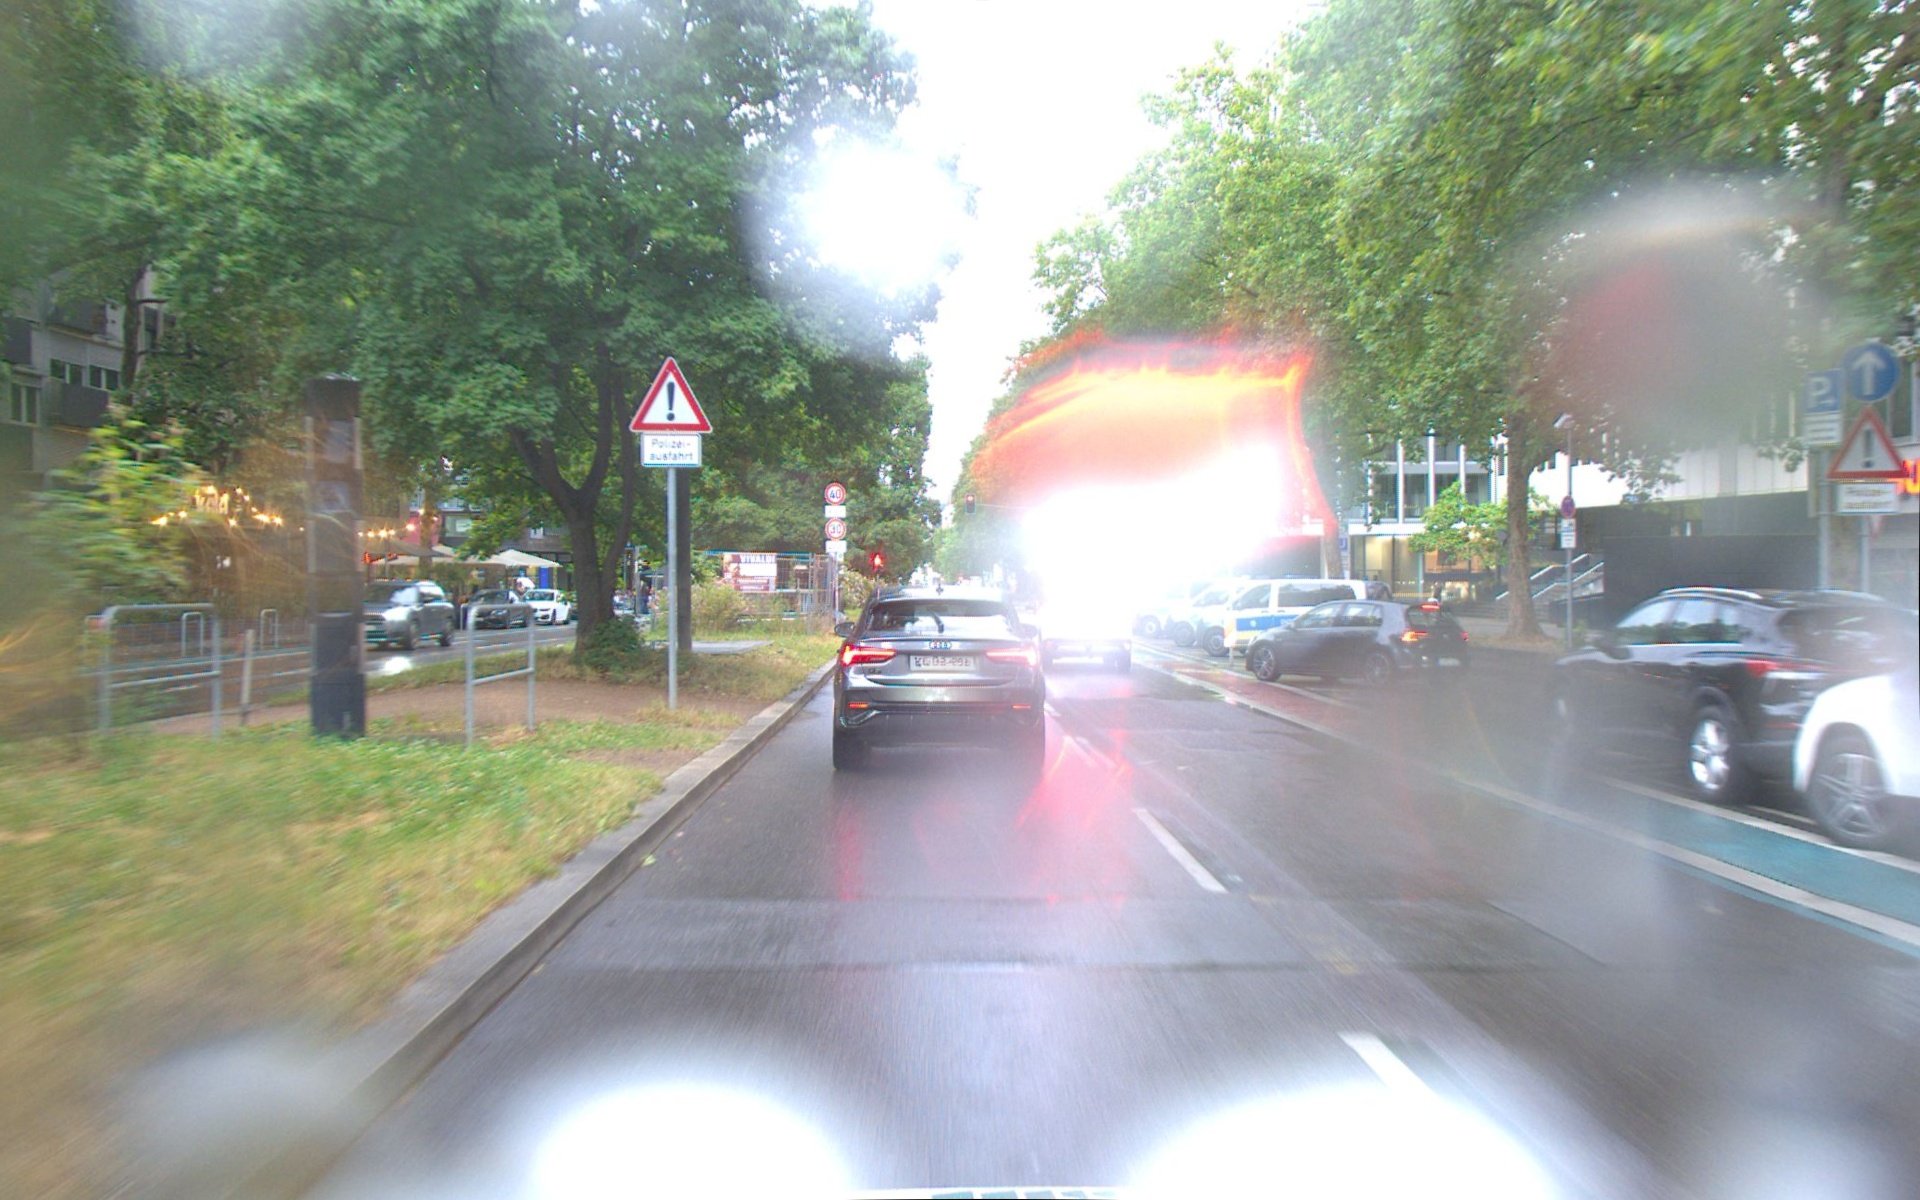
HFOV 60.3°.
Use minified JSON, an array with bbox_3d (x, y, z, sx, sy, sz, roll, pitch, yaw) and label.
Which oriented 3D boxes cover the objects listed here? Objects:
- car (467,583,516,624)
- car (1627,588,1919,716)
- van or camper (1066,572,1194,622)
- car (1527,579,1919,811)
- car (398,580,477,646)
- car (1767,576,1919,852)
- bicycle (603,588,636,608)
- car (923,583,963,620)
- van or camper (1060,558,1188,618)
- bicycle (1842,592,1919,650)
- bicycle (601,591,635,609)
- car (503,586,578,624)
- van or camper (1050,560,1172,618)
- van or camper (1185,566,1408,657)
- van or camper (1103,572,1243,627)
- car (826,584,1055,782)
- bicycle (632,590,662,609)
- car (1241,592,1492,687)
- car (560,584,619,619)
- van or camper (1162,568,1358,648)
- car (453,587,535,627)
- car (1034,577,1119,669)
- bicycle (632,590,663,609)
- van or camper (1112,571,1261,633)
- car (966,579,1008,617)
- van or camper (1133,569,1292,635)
[{"bbox_3d":[-16.859,0.110,59.590,1.029,1.412,2.693,-1,1,-1],"label":"car"},{"bbox_3d":[11.140,0.665,21.211,1.850,1.470,4.444,6,-3,-40],"label":"car"},{"bbox_3d":[7.268,-0.129,70.856,5.101,2.027,1.994,1,0,34],"label":"van or camper"},{"bbox_3d":[6.512,0.665,13.957,1.757,1.631,4.422,1,0,-3],"label":"car"},{"bbox_3d":[-13.698,0.298,43.517,1.690,1.654,4.425,0,1,-14],"label":"car"},{"bbox_3d":[6.522,0.683,9.065,1.717,1.613,4.405,1,1,-6],"label":"car"},{"bbox_3d":[-19.765,-0.128,96.060,1.810,1.117,0.613,0,0,-8],"label":"bicycle"},{"bbox_3d":[-0.786,0.041,72.642,1.687,1.605,3.961,0,1,-1],"label":"car"},{"bbox_3d":[7.658,-0.542,77.510,5.692,2.727,1.994,0,0,34],"label":"van or camper"},{"bbox_3d":[17.447,0.384,30.935,0.629,0.938,1.911,-7,2,-6],"label":"bicycle"},{"bbox_3d":[-19.734,-0.006,95.478,1.808,0.996,0.565,0,0,-4],"label":"bicycle"},{"bbox_3d":[-17.082,0.184,67.570,1.953,1.394,4.539,2,1,-1],"label":"car"},{"bbox_3d":[7.348,-0.554,80.986,5.700,2.724,2.139,0,0,36],"label":"van or camper"},{"bbox_3d":[8.008,0.236,39.602,4.850,2.026,1.994,1,0,37],"label":"van or camper"},{"bbox_3d":[8.162,-0.043,63.723,5.007,2.060,2.098,0,1,37],"label":"van or camper"},{"bbox_3d":[-0.151,0.641,15.417,1.825,1.559,4.526,0,1,0],"label":"car"},{"bbox_3d":[-19.379,-0.045,102.453,1.810,1.169,0.565,-1,1,-8],"label":"bicycle"},{"bbox_3d":[6.718,0.600,27.677,1.750,1.437,3.952,-1,1,-34],"label":"car"},{"bbox_3d":[-17.465,0.045,78.089,1.954,1.535,4.515,-1,1,-3],"label":"car"},{"bbox_3d":[8.318,0.196,46.024,4.986,2.054,1.990,2,1,36],"label":"van or camper"},{"bbox_3d":[-17.014,0.225,60.597,1.788,1.419,4.483,0,0,-1],"label":"car"},{"bbox_3d":[2.264,0.419,32.604,1.404,1.714,2.978,-1,1,-1],"label":"car"},{"bbox_3d":[-19.243,-0.040,101.815,1.810,1.156,0.565,-1,1,-8],"label":"bicycle"},{"bbox_3d":[7.761,0.057,56.877,4.697,2.046,1.993,0,0,35],"label":"van or camper"},{"bbox_3d":[1.292,-0.122,80.819,1.953,1.780,3.999,0,1,-1],"label":"car"},{"bbox_3d":[8.067,0.036,53.051,4.757,2.033,1.861,0,0,36],"label":"van or camper"}]
